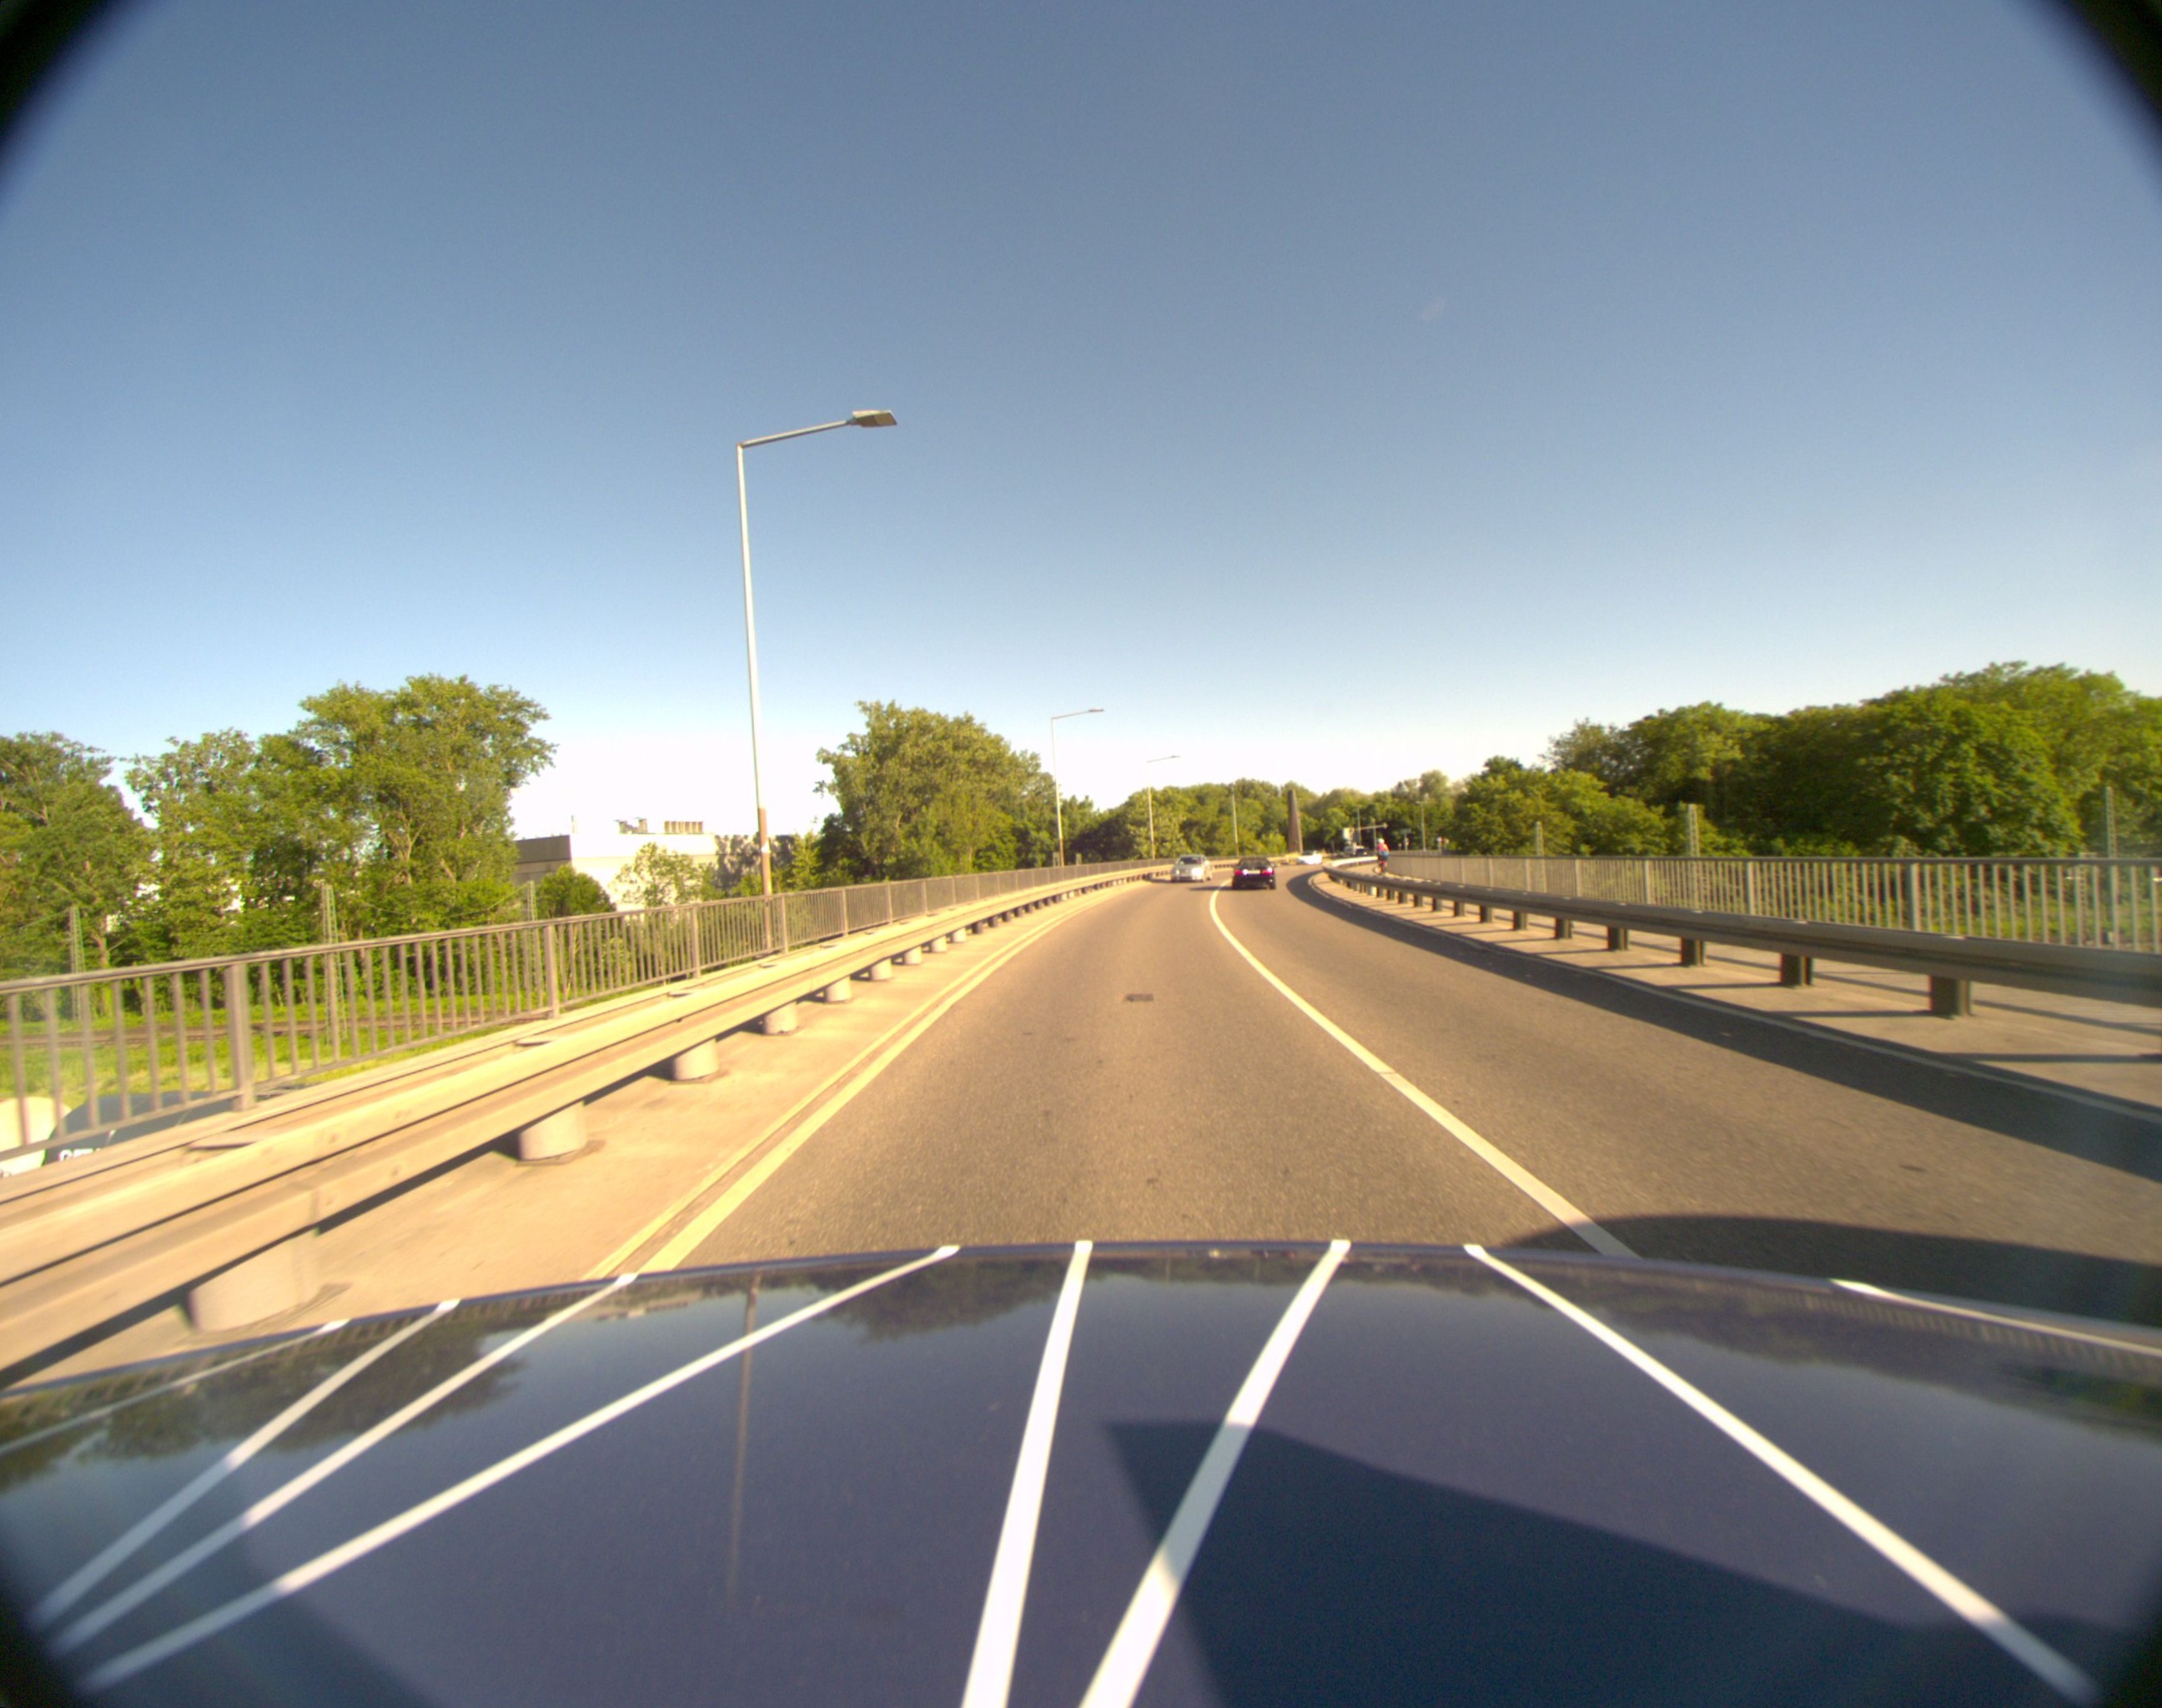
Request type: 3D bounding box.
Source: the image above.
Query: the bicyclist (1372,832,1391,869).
[{"bbox_3d":[12.921,-0.157,32.729,0.654,1.580,0.769,-1,1,15],"label":"bicyclist"}]

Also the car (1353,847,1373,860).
[{"bbox_3d":[39.207,-0.080,105.492,1.918,1.608,3.749,-1,0,31],"label":"car"}]

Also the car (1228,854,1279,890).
[{"bbox_3d":[7.140,0.699,31.772,1.748,1.347,4.184,-1,0,8],"label":"car"}]

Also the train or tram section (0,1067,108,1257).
[{"bbox_3d":[-42.120,10.155,25.101,16.863,5.231,3.337,-1,1,4],"label":"train or tram section"}]

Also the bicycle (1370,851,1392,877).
[{"bbox_3d":[12.877,0.420,32.599,0.654,1.058,1.892,-1,0,15],"label":"bicycle"}]

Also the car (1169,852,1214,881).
[{"bbox_3d":[5.991,0.648,40.752,1.762,1.428,4.335,-1,0,16],"label":"car"}]

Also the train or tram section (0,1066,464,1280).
[{"bbox_3d":[-27.131,9.781,23.941,13.070,5.234,3.337,-1,1,4],"label":"train or tram section"}]

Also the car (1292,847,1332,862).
[{"bbox_3d":[24.216,0.078,79.691,4.137,1.465,1.989,-2,1,-39],"label":"car"}]

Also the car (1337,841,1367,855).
[{"bbox_3d":[53.245,-1.130,149.387,2.117,2.484,5.696,-2,-1,-24],"label":"car"}]
